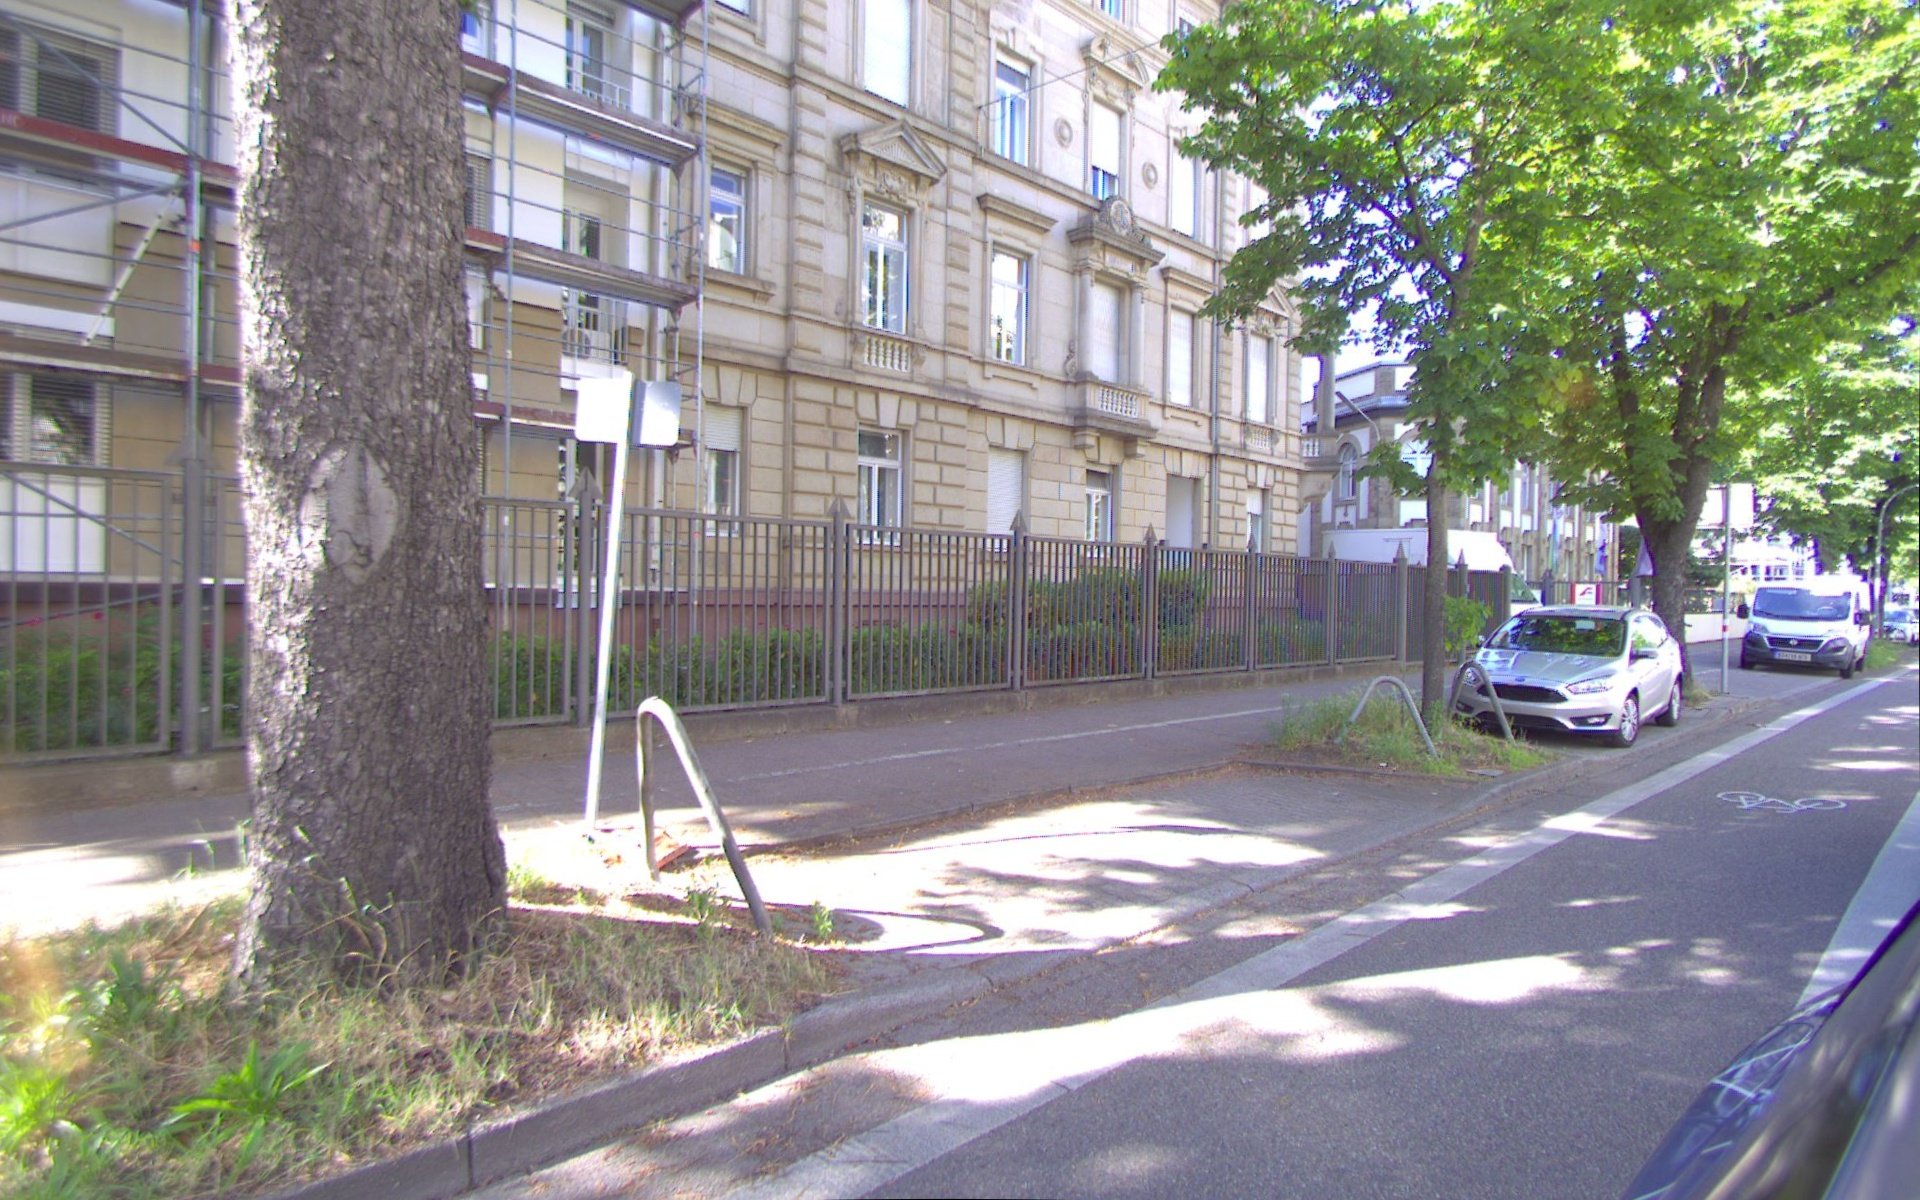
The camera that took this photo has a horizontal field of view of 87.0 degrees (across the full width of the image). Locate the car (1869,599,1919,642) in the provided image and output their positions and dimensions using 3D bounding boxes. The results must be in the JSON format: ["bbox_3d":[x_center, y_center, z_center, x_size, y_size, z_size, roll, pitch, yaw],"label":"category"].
[{"bbox_3d":[37.429,0.776,40.079,4.035,1.569,1.863,-1,1,-44],"label":"car"}]

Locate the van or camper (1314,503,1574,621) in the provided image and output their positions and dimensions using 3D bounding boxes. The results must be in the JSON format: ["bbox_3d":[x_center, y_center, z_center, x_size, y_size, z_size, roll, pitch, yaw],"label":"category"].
[{"bbox_3d":[12.247,-0.891,26.374,2.078,2.660,6.751,0,0,-17],"label":"van or camper"}]

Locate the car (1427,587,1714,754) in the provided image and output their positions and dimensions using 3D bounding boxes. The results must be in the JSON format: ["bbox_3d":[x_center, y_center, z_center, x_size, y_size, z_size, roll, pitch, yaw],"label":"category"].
[{"bbox_3d":[7.409,0.668,12.099,4.294,1.562,1.874,-1,3,-44],"label":"car"}]

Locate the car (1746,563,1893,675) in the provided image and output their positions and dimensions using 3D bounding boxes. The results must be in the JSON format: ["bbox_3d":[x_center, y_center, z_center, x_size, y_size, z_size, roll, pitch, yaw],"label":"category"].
[{"bbox_3d":[20.973,0.351,24.595,5.710,2.371,2.129,-1,3,-44],"label":"car"}]
